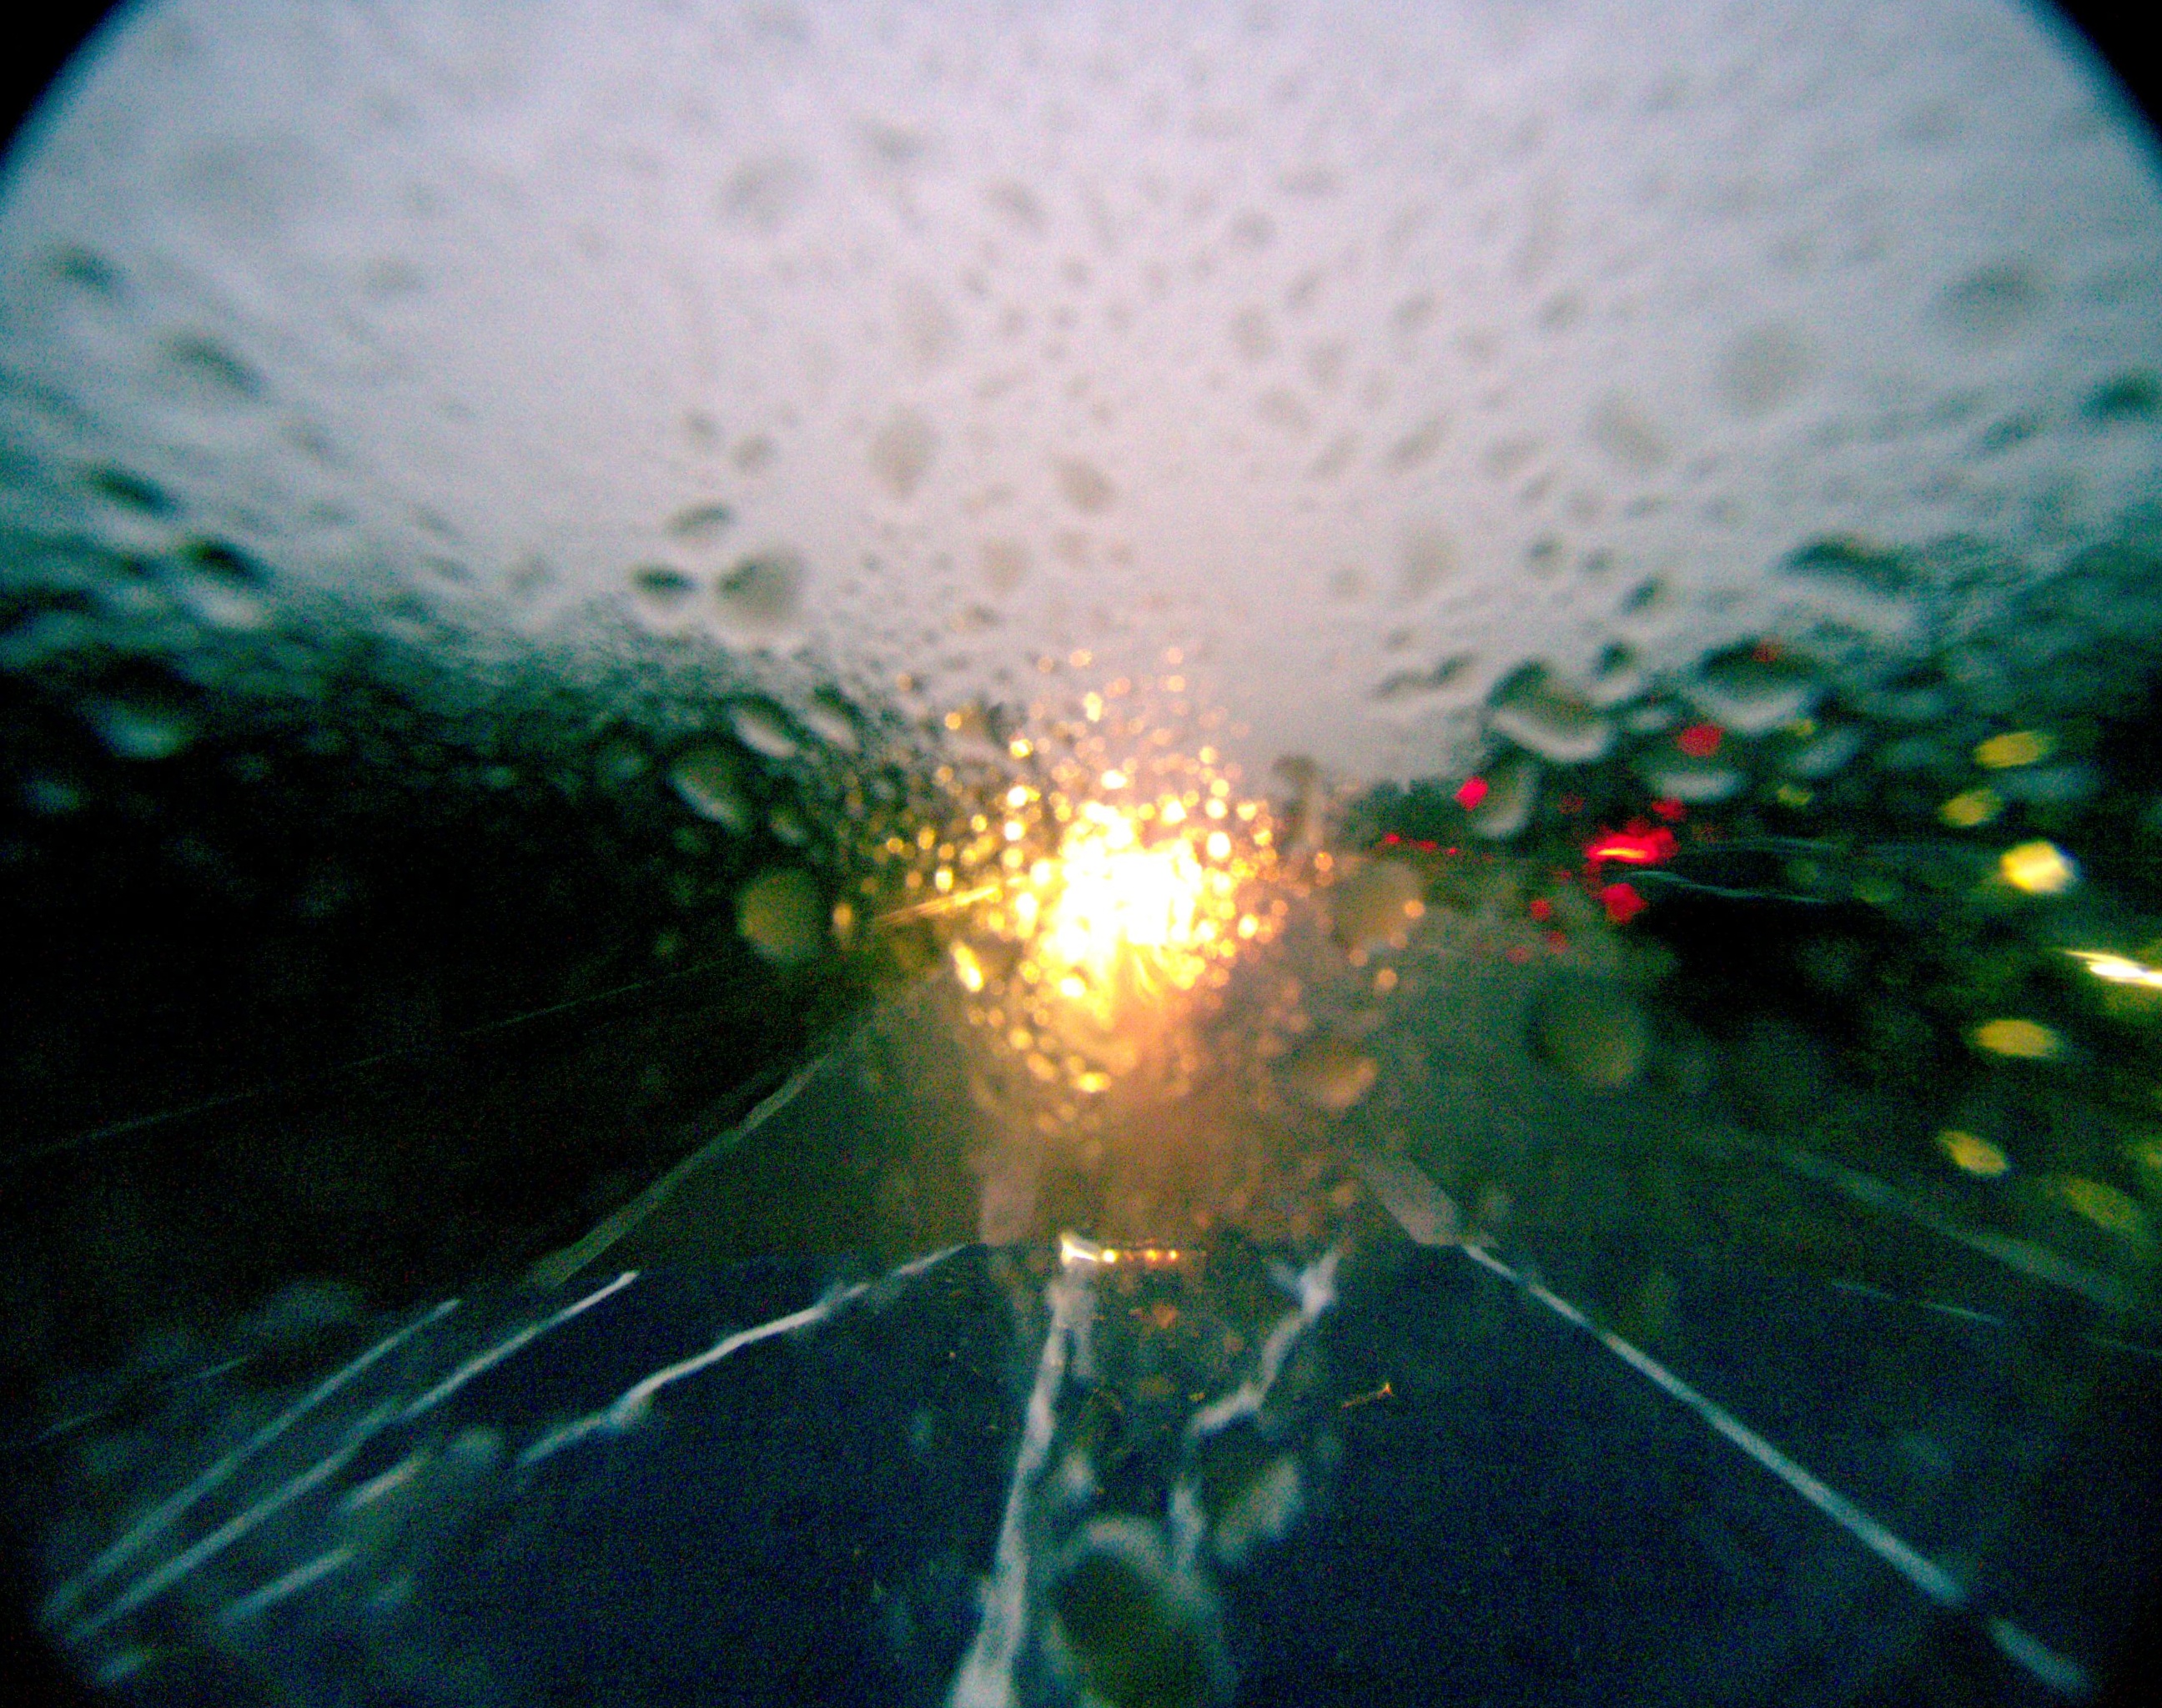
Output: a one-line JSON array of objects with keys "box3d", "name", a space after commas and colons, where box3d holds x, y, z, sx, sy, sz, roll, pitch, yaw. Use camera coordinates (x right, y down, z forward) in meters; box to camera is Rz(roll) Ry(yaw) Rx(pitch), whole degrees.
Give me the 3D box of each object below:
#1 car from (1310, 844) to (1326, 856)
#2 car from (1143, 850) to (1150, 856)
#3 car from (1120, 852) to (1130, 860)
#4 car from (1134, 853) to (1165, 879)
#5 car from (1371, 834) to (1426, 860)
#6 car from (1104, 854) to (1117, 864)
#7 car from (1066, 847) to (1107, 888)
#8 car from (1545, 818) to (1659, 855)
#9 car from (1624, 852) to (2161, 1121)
[{"box3d": [32.443, -0.564, 104.018, 1.745, 1.478, 4.006, -3, 0, 22], "name": "car"}, {"box3d": [15.632, -0.233, 181.721, 1.482, 1.198, 3.350, -3, 0, 5], "name": "car"}, {"box3d": [7.586, 0.338, 130.357, 1.482, 1.198, 3.350, -3, 0, 5], "name": "car"}, {"box3d": [4.429, 0.758, 49.530, 1.654, 1.502, 3.875, 5, -1, 1], "name": "car"}, {"box3d": [18.496, -0.435, 44.359, 1.578, 1.368, 3.841, -3, 2, 0], "name": "car"}, {"box3d": [3.789, 0.652, 97.548, 1.482, 1.198, 3.350, -3, 0, 5], "name": "car"}, {"box3d": [0.335, 0.669, 40.241, 1.998, 2.002, 3.964, -1, 0, 2], "name": "car"}, {"box3d": [21.902, -0.747, 32.205, 1.578, 1.368, 4.781, -3, 2, 0], "name": "car"}, {"box3d": [6.883, 0.741, 6.124, 1.803, 1.459, 4.413, -1, 0, -1], "name": "car"}]
